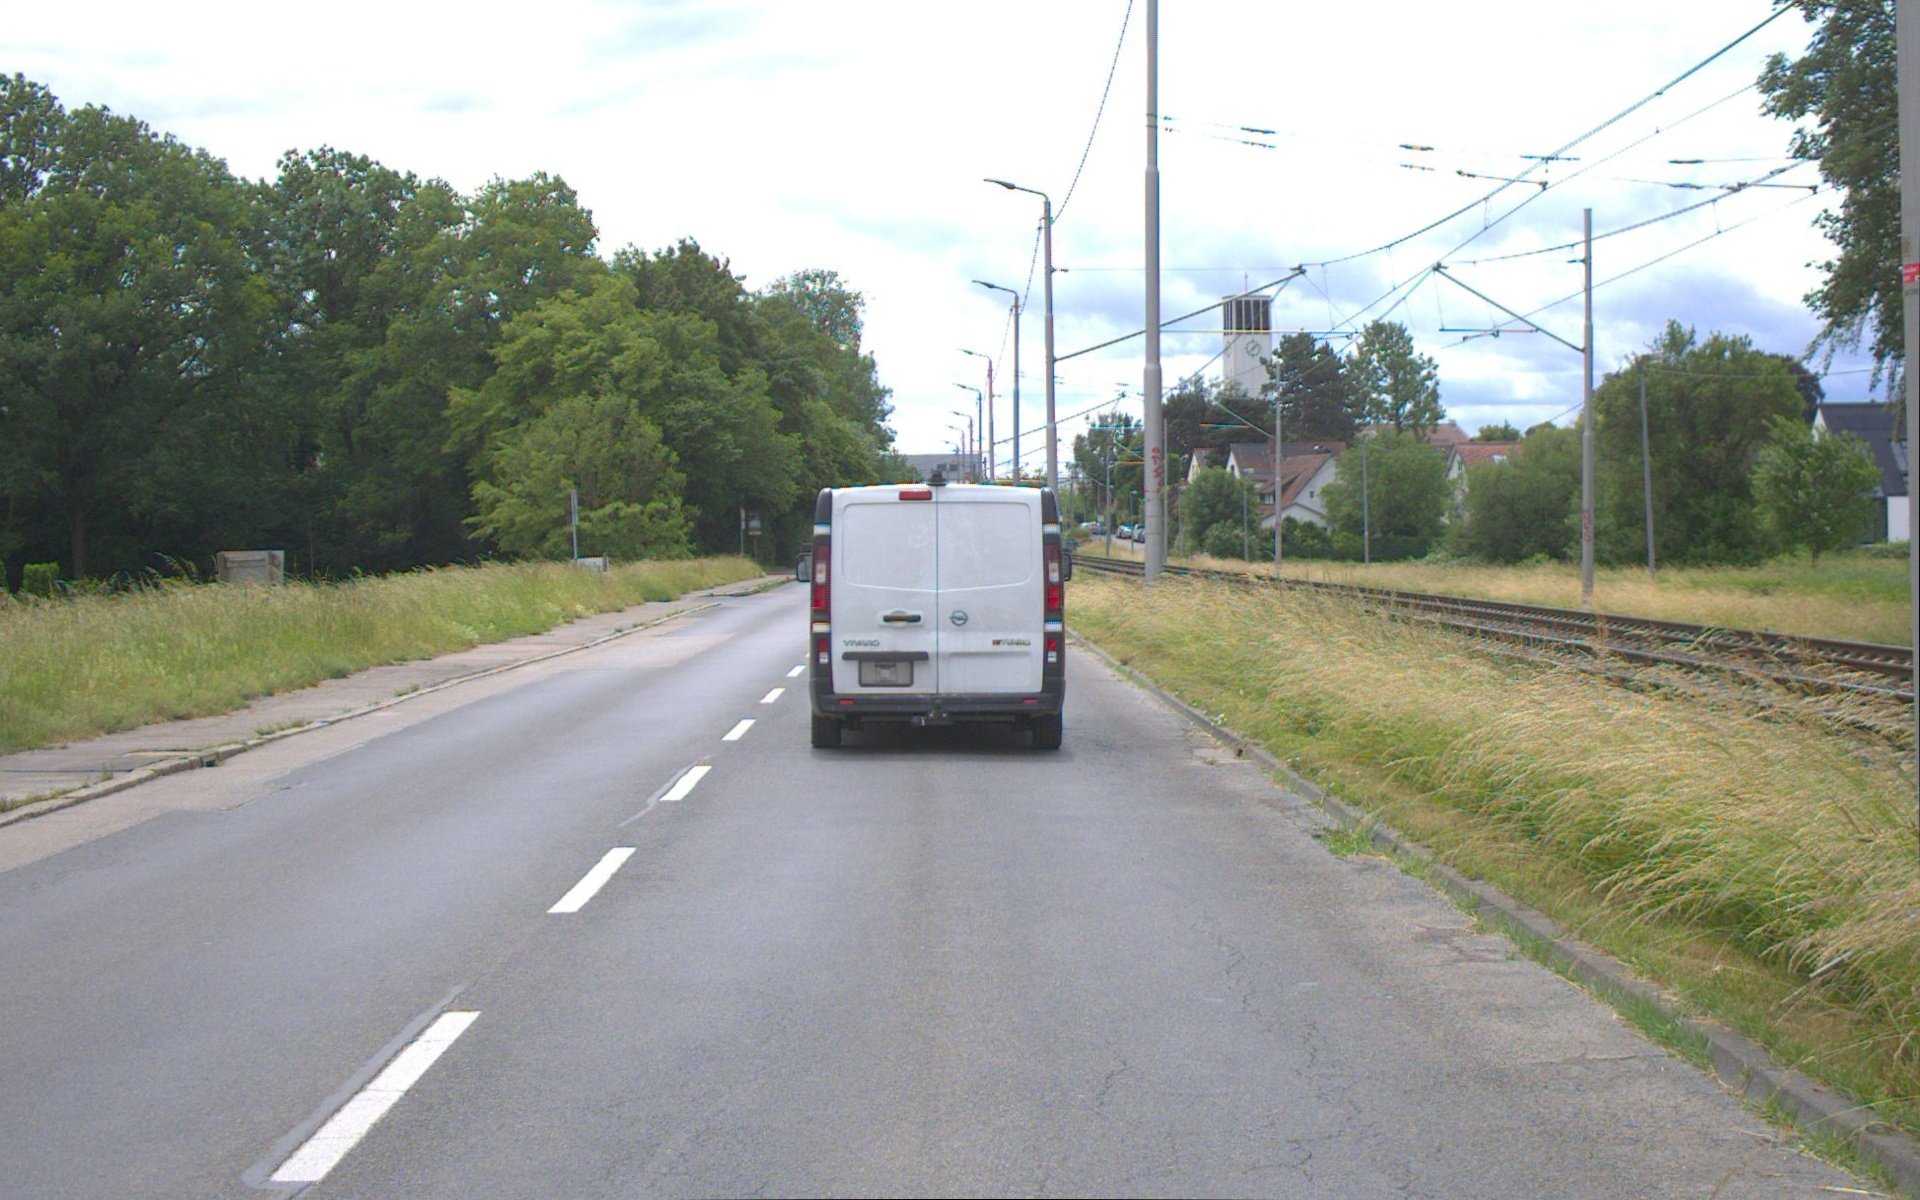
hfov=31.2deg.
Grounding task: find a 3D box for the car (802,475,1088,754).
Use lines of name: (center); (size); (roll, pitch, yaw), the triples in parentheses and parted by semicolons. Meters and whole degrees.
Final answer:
car: (-0.159, 0.080, 26.263); (1.993, 1.950, 4.000); (1, 1, -2)
